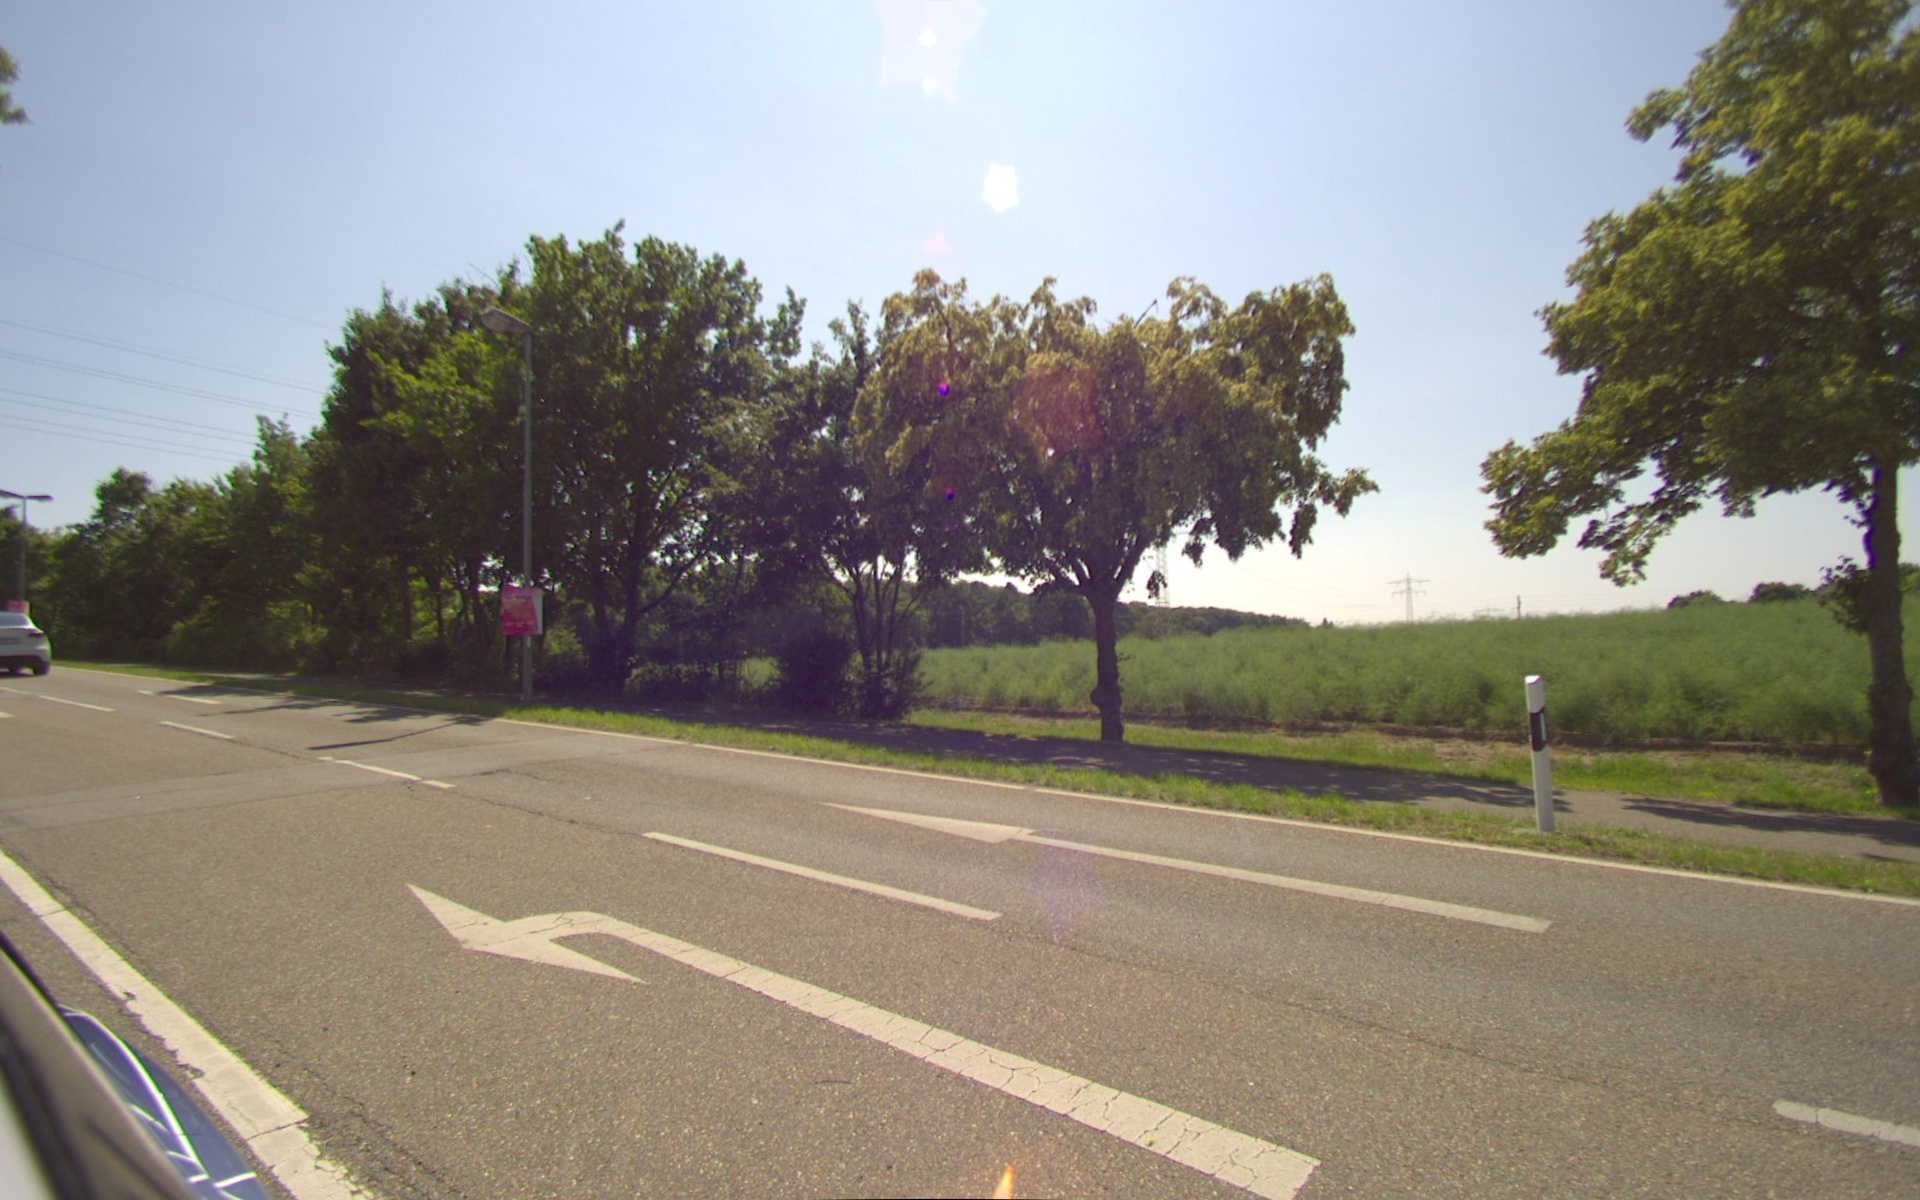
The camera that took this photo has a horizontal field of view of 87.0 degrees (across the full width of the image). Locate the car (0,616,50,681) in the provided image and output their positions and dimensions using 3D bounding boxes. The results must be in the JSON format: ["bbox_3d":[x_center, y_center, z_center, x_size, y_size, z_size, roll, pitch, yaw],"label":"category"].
[{"bbox_3d":[-25.358,1.250,26.184,4.463,1.584,1.859,-2,-2,37],"label":"car"}]
